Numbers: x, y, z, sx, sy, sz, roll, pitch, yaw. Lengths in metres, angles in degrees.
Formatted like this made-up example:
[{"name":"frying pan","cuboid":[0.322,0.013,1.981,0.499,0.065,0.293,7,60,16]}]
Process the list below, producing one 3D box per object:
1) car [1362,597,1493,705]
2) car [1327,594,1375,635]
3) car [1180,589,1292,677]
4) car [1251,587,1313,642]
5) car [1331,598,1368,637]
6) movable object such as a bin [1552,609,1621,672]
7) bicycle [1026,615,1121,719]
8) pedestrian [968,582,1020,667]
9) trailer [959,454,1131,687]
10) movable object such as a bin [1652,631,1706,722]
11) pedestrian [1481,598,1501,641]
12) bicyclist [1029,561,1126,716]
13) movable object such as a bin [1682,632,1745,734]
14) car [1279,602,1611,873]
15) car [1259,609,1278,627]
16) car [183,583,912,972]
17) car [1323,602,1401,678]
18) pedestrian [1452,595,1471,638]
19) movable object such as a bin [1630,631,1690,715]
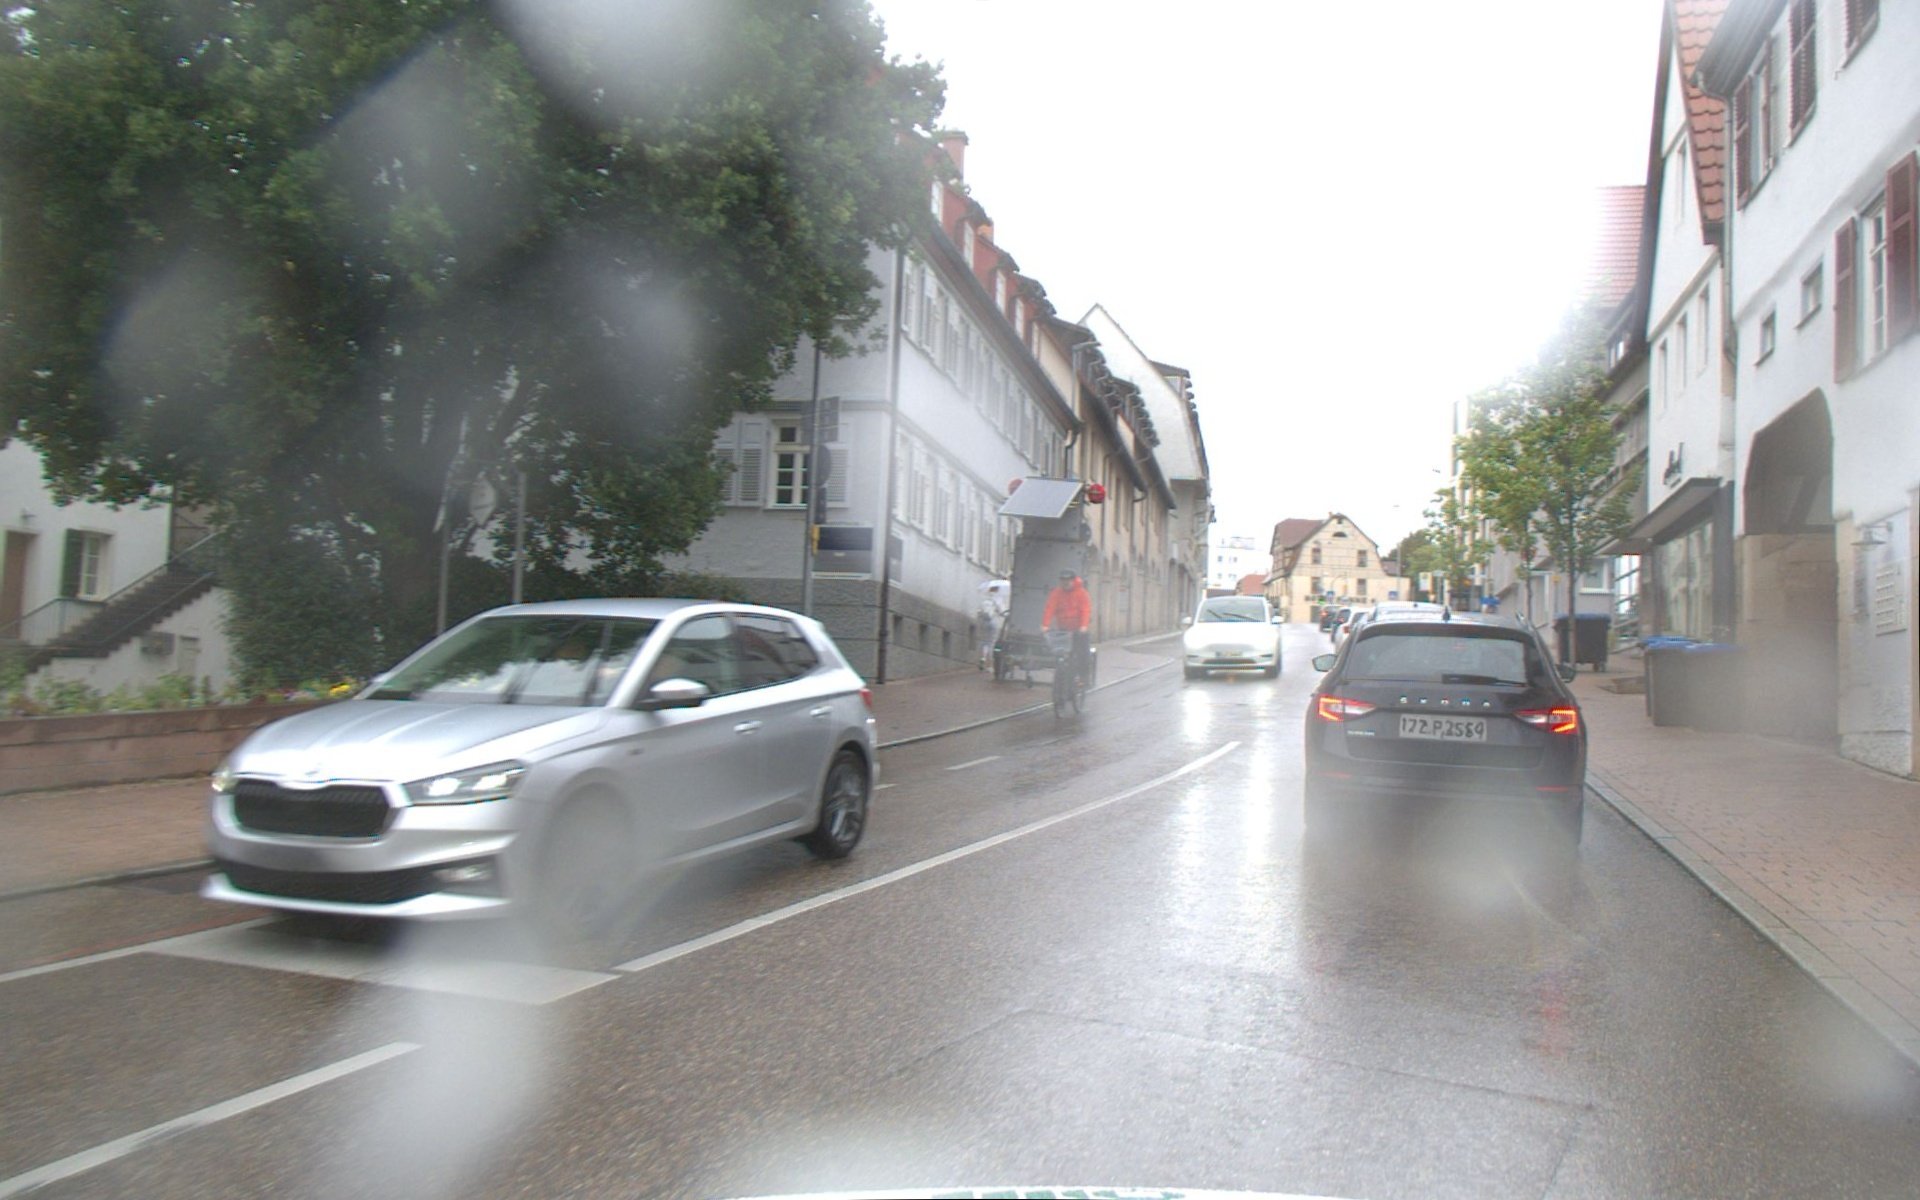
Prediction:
[{"name":"car","cuboid":[7.397,0.743,26.206,1.817,1.498,4.003,2,1,16]},{"name":"car","cuboid":[16.167,0.576,68.510,1.667,1.579,3.609,2,0,10]},{"name":"car","cuboid":[5.840,0.673,34.636,1.834,1.691,4.311,-2,-1,15]},{"name":"car","cuboid":[9.705,0.400,49.820,1.735,1.560,3.714,2,1,11]},{"name":"car","cuboid":[21.950,0.974,93.324,1.951,2.049,4.003,2,0,13]},{"name":"movable object such as a bin","cuboid":[14.578,0.923,38.545,1.259,1.373,1.488,2,1,12]},{"name":"bicycle","cuboid":[1.561,0.869,22.338,0.732,1.183,2.158,1,3,19]},{"name":"pedestrian","cuboid":[0.660,0.465,31.807,0.692,1.556,1.046,3,1,16]},{"name":"trailer","cuboid":[1.553,-0.382,28.244,1.951,3.596,4.577,2,-2,14]},{"name":"movable object such as a bin","cuboid":[9.279,0.994,21.370,0.555,1.128,0.676,1,-5,16]},{"name":"pedestrian","cuboid":[22.405,0.808,69.792,0.690,1.755,0.833,2,0,16]},{"name":"bicyclist","cuboid":[1.598,0.534,22.375,1.112,2.049,0.880,0,-4,19]},{"name":"movable object such as a bin","cuboid":[9.410,1.029,20.663,0.611,1.227,0.605,2,-2,17]},{"name":"car","cuboid":[3.449,0.792,11.861,1.847,1.473,4.360,2,1,16]},{"name":"car","cuboid":[28.099,1.614,150.625,1.593,1.556,4.003,2,0,10]},{"name":"car","cuboid":[-1.742,0.651,8.312,1.628,1.452,3.871,0,1,21]},{"name":"car","cuboid":[9.720,1.018,40.167,1.592,1.557,4.002,1,-4,10]},{"name":"pedestrian","cuboid":[21.054,0.677,69.468,0.690,1.755,0.833,2,0,16]},{"name":"movable object such as a bin","cuboid":[9.417,0.977,22.263,0.645,1.081,0.614,1,1,16]}]
